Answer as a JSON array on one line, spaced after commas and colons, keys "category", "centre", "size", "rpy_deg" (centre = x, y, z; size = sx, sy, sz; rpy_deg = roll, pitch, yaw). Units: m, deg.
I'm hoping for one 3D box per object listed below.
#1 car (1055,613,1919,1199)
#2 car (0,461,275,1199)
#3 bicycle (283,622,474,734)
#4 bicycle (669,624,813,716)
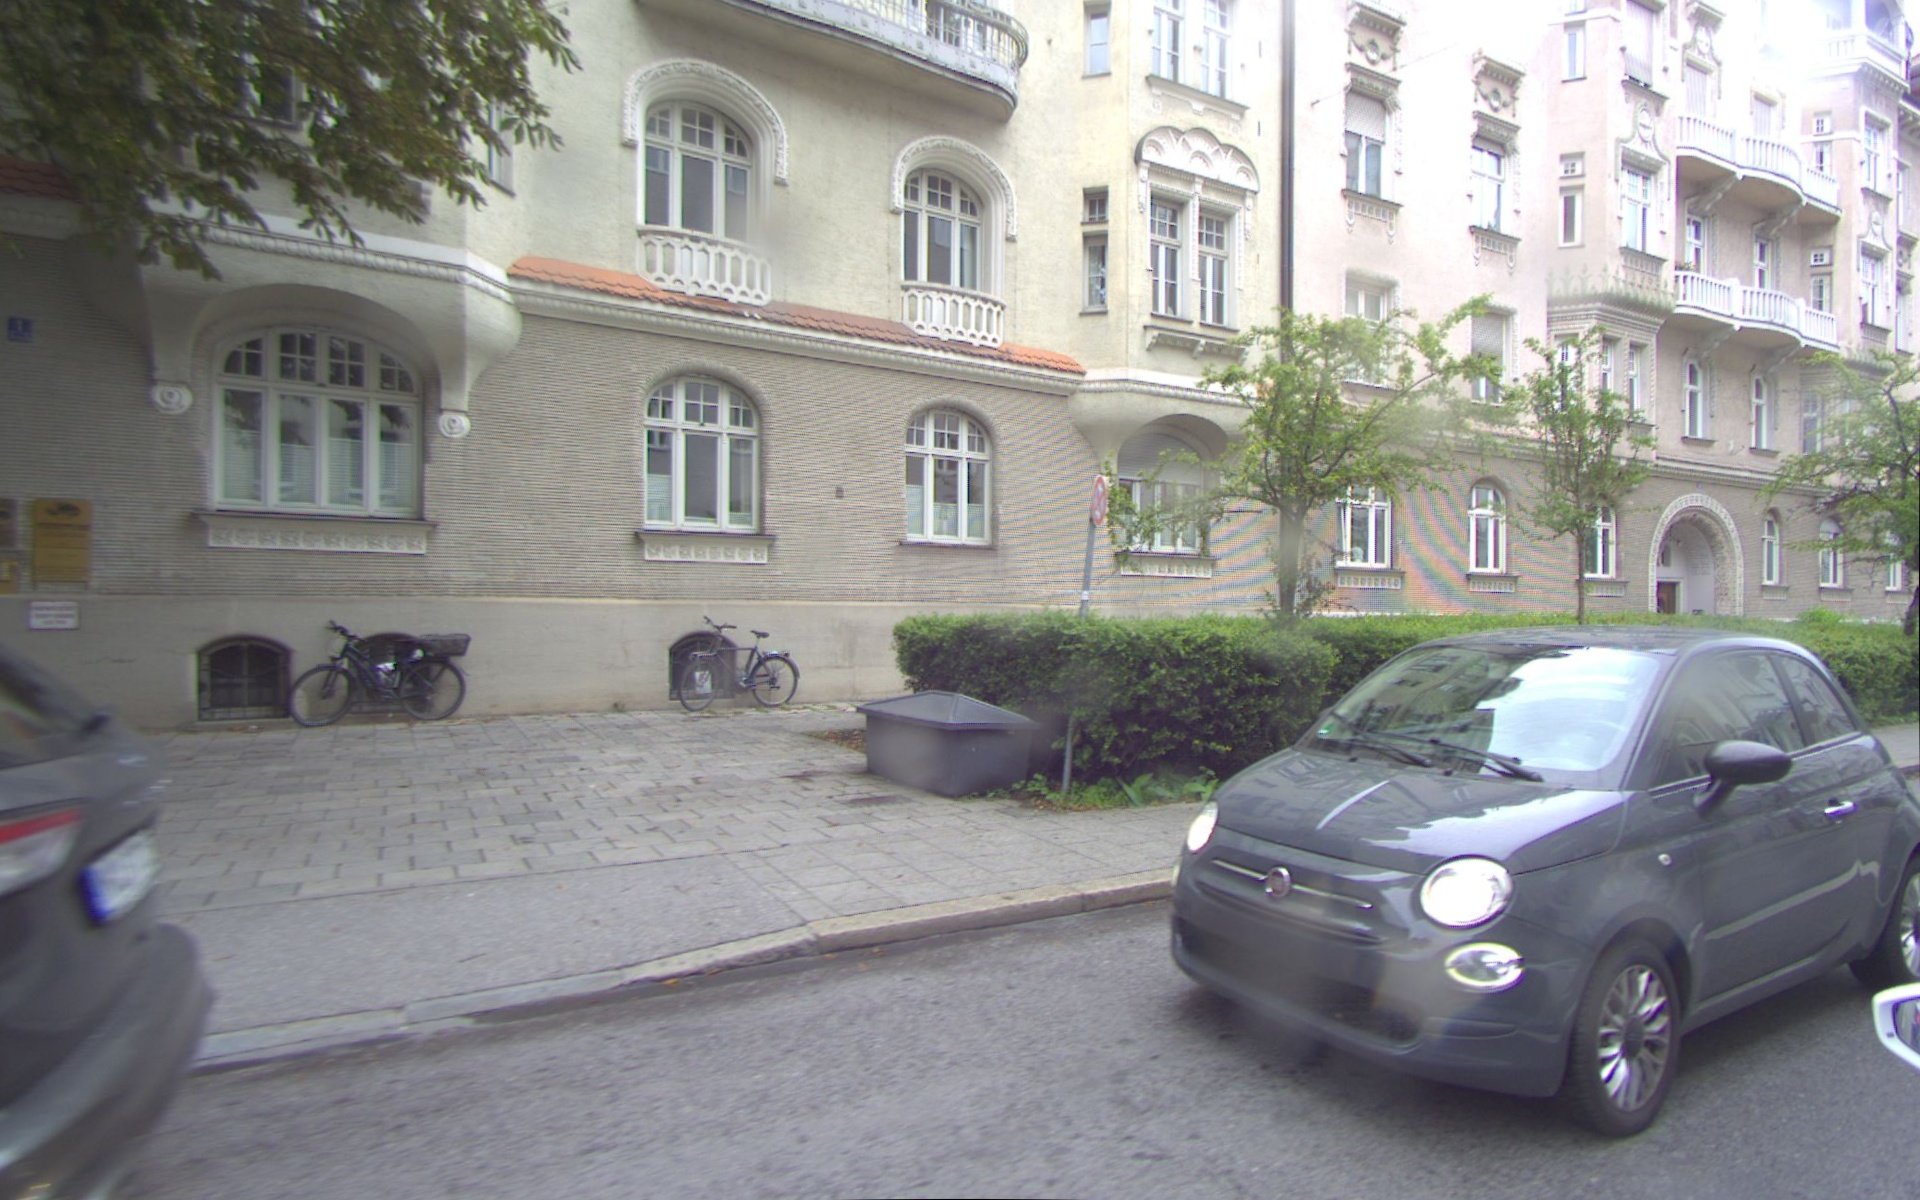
[{"category": "car", "centre": [2.357, 0.830, 4.040], "size": [3.738, 1.499, 1.577], "rpy_deg": [1, -1, -30]}, {"category": "car", "centre": [-3.483, 0.612, 1.213], "size": [4.223, 1.666, 1.759], "rpy_deg": [1, -1, -30]}, {"category": "bicycle", "centre": [-6.556, 0.851, 11.399], "size": [1.814, 1.178, 0.614], "rpy_deg": [1, -1, -32]}, {"category": "bicycle", "centre": [-2.954, 0.926, 13.632], "size": [1.814, 1.178, 0.614], "rpy_deg": [1, -1, -32]}]
